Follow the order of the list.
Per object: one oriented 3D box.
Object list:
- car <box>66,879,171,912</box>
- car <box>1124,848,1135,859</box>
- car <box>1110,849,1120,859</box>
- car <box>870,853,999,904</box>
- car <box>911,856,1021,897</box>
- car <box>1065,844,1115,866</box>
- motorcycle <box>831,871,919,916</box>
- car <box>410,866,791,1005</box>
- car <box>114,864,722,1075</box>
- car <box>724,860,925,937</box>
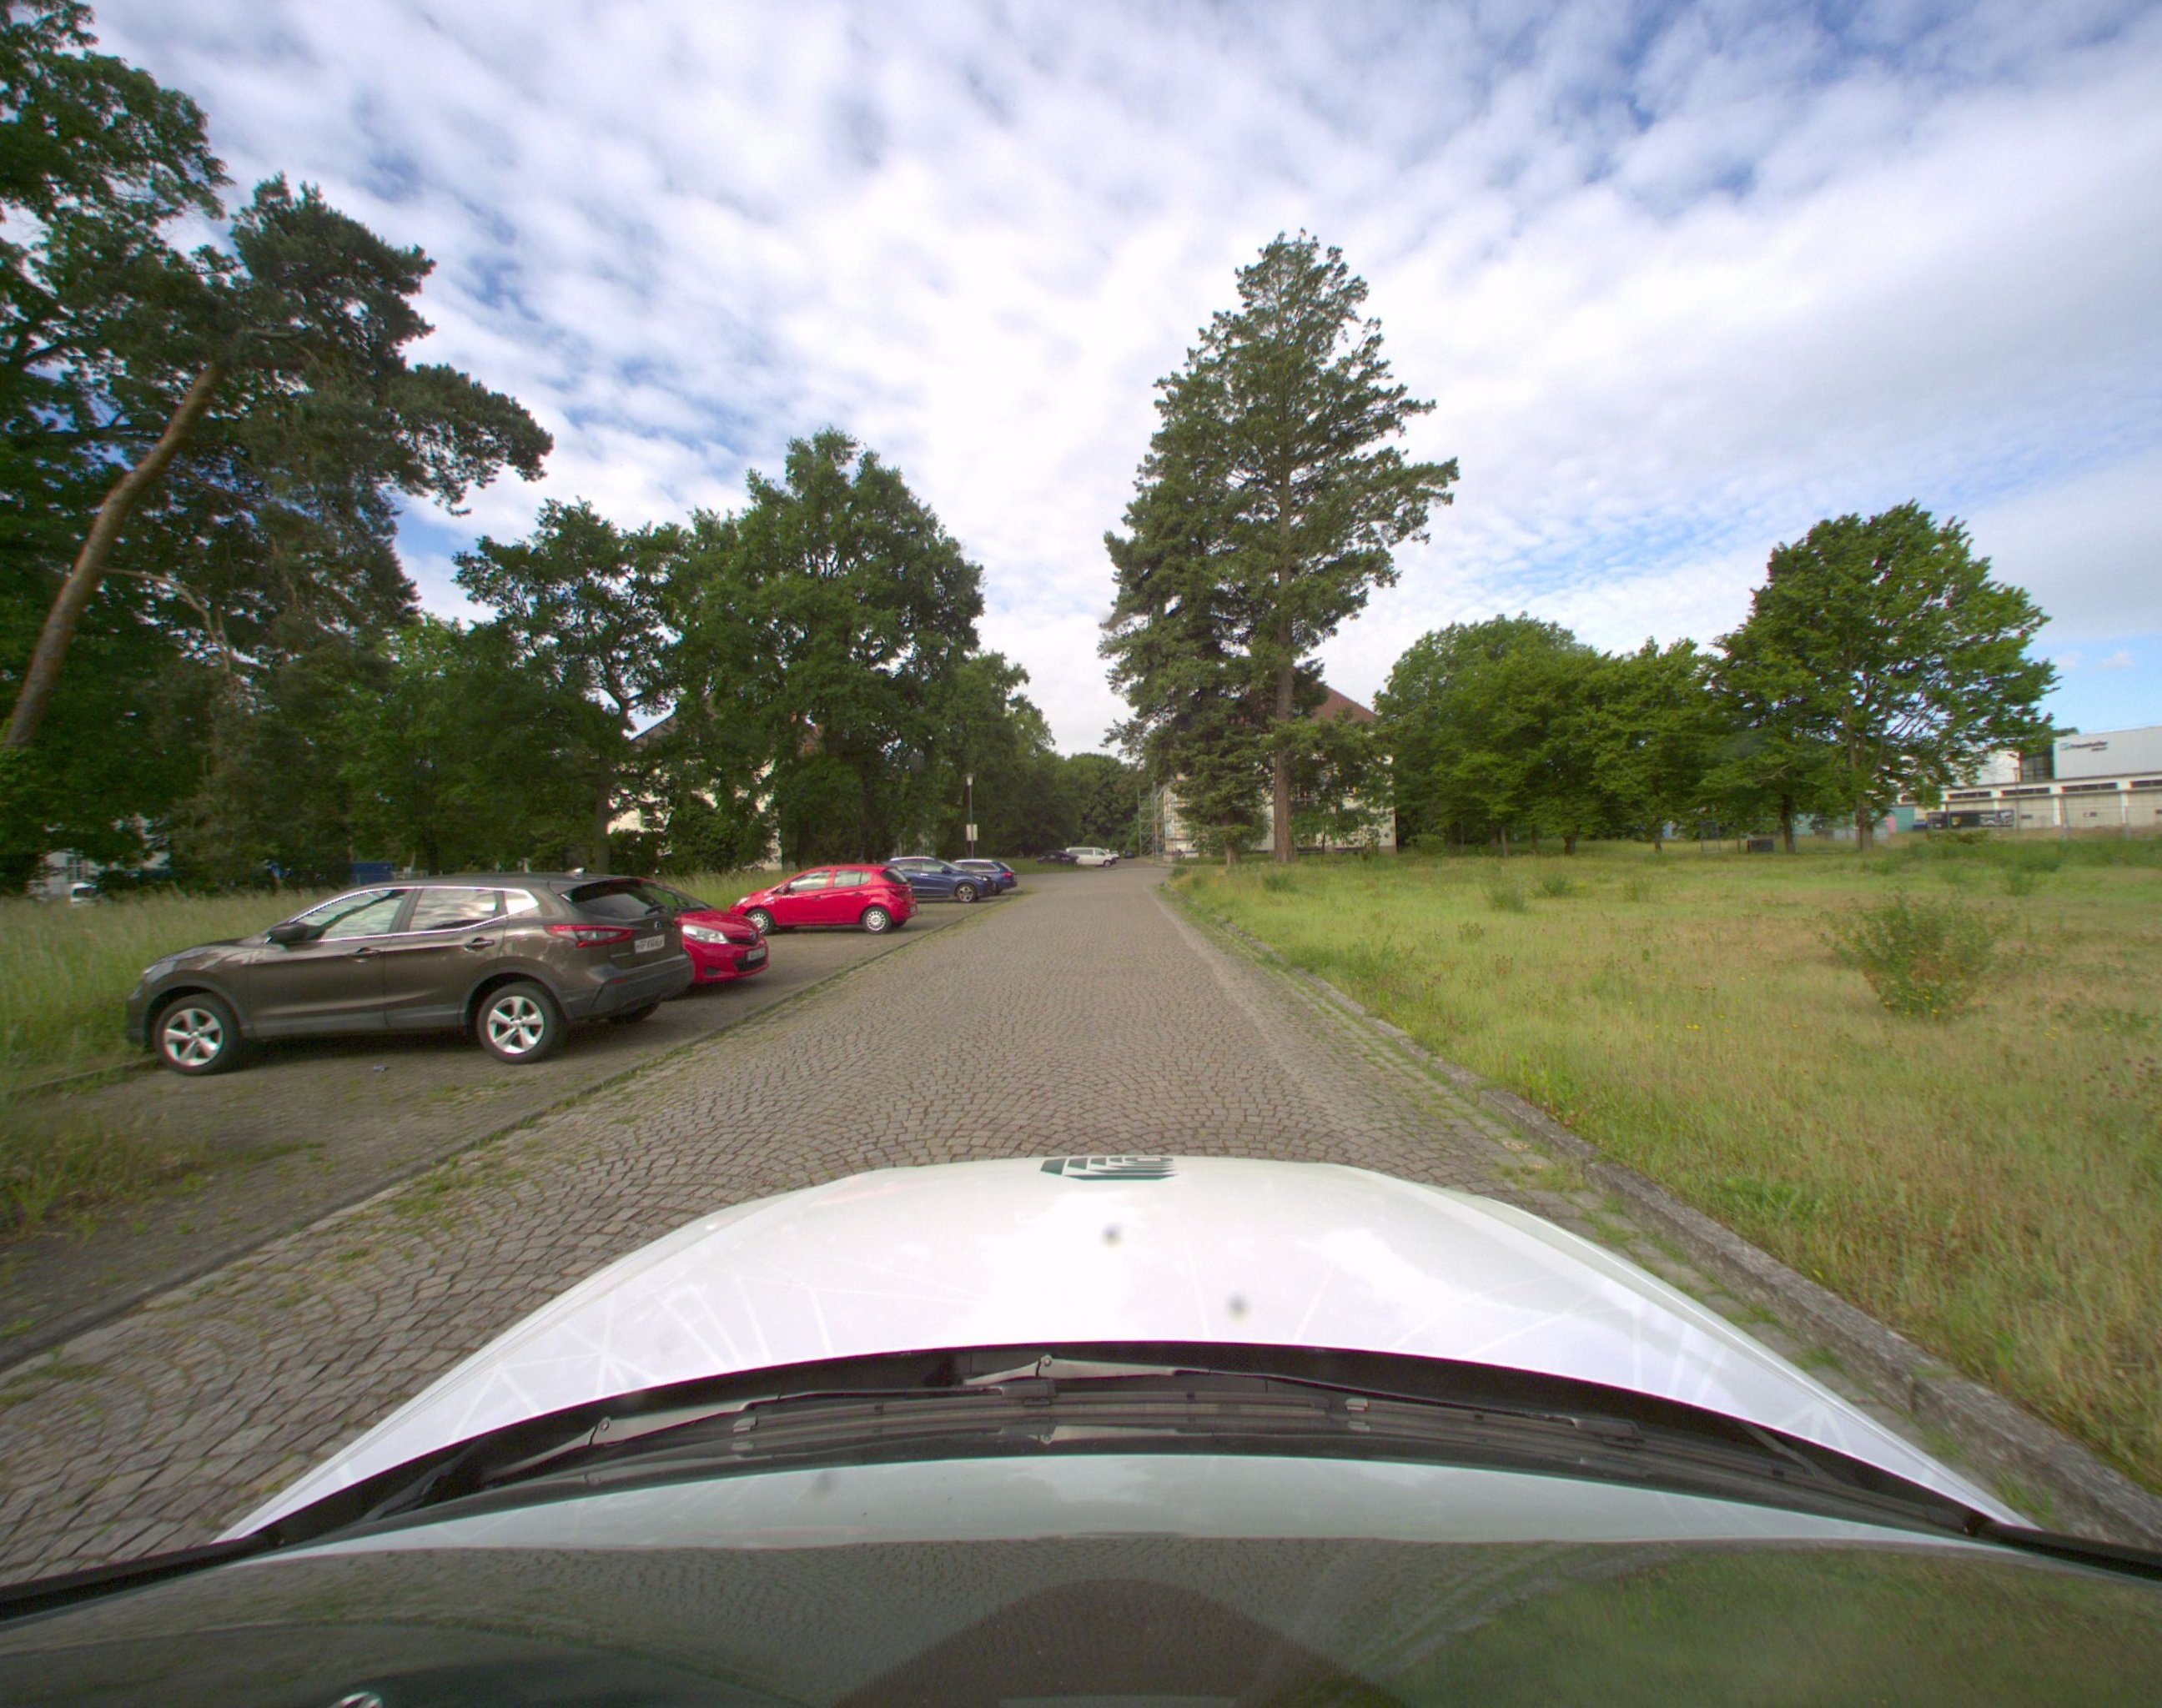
[{"bbox_3d":[-67.096,2.849,56.867,2.054,2.095,4.347,-3,-1,2],"label":"car"},{"bbox_3d":[8.759,-0.081,147.995,1.784,1.720,4.061,-2,-1,1],"label":"car"},{"bbox_3d":[6.136,0.063,147.743,1.784,1.636,4.061,-2,-1,1],"label":"car"},{"bbox_3d":[-4.997,0.820,28.223,4.058,1.604,1.788,-2,0,0],"label":"car"},{"bbox_3d":[-4.612,0.899,32.914,4.051,1.467,1.628,-2,0,5],"label":"car"},{"bbox_3d":[0.941,0.128,81.782,4.961,2.072,2.052,-1,-1,0],"label":"car"},{"bbox_3d":[-5.690,1.085,22.551,2.216,1.159,0.648,-2,0,4],"label":"motorcycle"},{"bbox_3d":[-5.972,0.978,10.456,3.801,1.486,1.762,-2,0,1],"label":"car"},{"bbox_3d":[-5.873,0.962,7.664,4.054,1.575,1.955,-2,0,0],"label":"car"},{"bbox_3d":[-5.554,0.943,17.979,3.802,1.489,1.788,-2,0,1],"label":"car"}]
